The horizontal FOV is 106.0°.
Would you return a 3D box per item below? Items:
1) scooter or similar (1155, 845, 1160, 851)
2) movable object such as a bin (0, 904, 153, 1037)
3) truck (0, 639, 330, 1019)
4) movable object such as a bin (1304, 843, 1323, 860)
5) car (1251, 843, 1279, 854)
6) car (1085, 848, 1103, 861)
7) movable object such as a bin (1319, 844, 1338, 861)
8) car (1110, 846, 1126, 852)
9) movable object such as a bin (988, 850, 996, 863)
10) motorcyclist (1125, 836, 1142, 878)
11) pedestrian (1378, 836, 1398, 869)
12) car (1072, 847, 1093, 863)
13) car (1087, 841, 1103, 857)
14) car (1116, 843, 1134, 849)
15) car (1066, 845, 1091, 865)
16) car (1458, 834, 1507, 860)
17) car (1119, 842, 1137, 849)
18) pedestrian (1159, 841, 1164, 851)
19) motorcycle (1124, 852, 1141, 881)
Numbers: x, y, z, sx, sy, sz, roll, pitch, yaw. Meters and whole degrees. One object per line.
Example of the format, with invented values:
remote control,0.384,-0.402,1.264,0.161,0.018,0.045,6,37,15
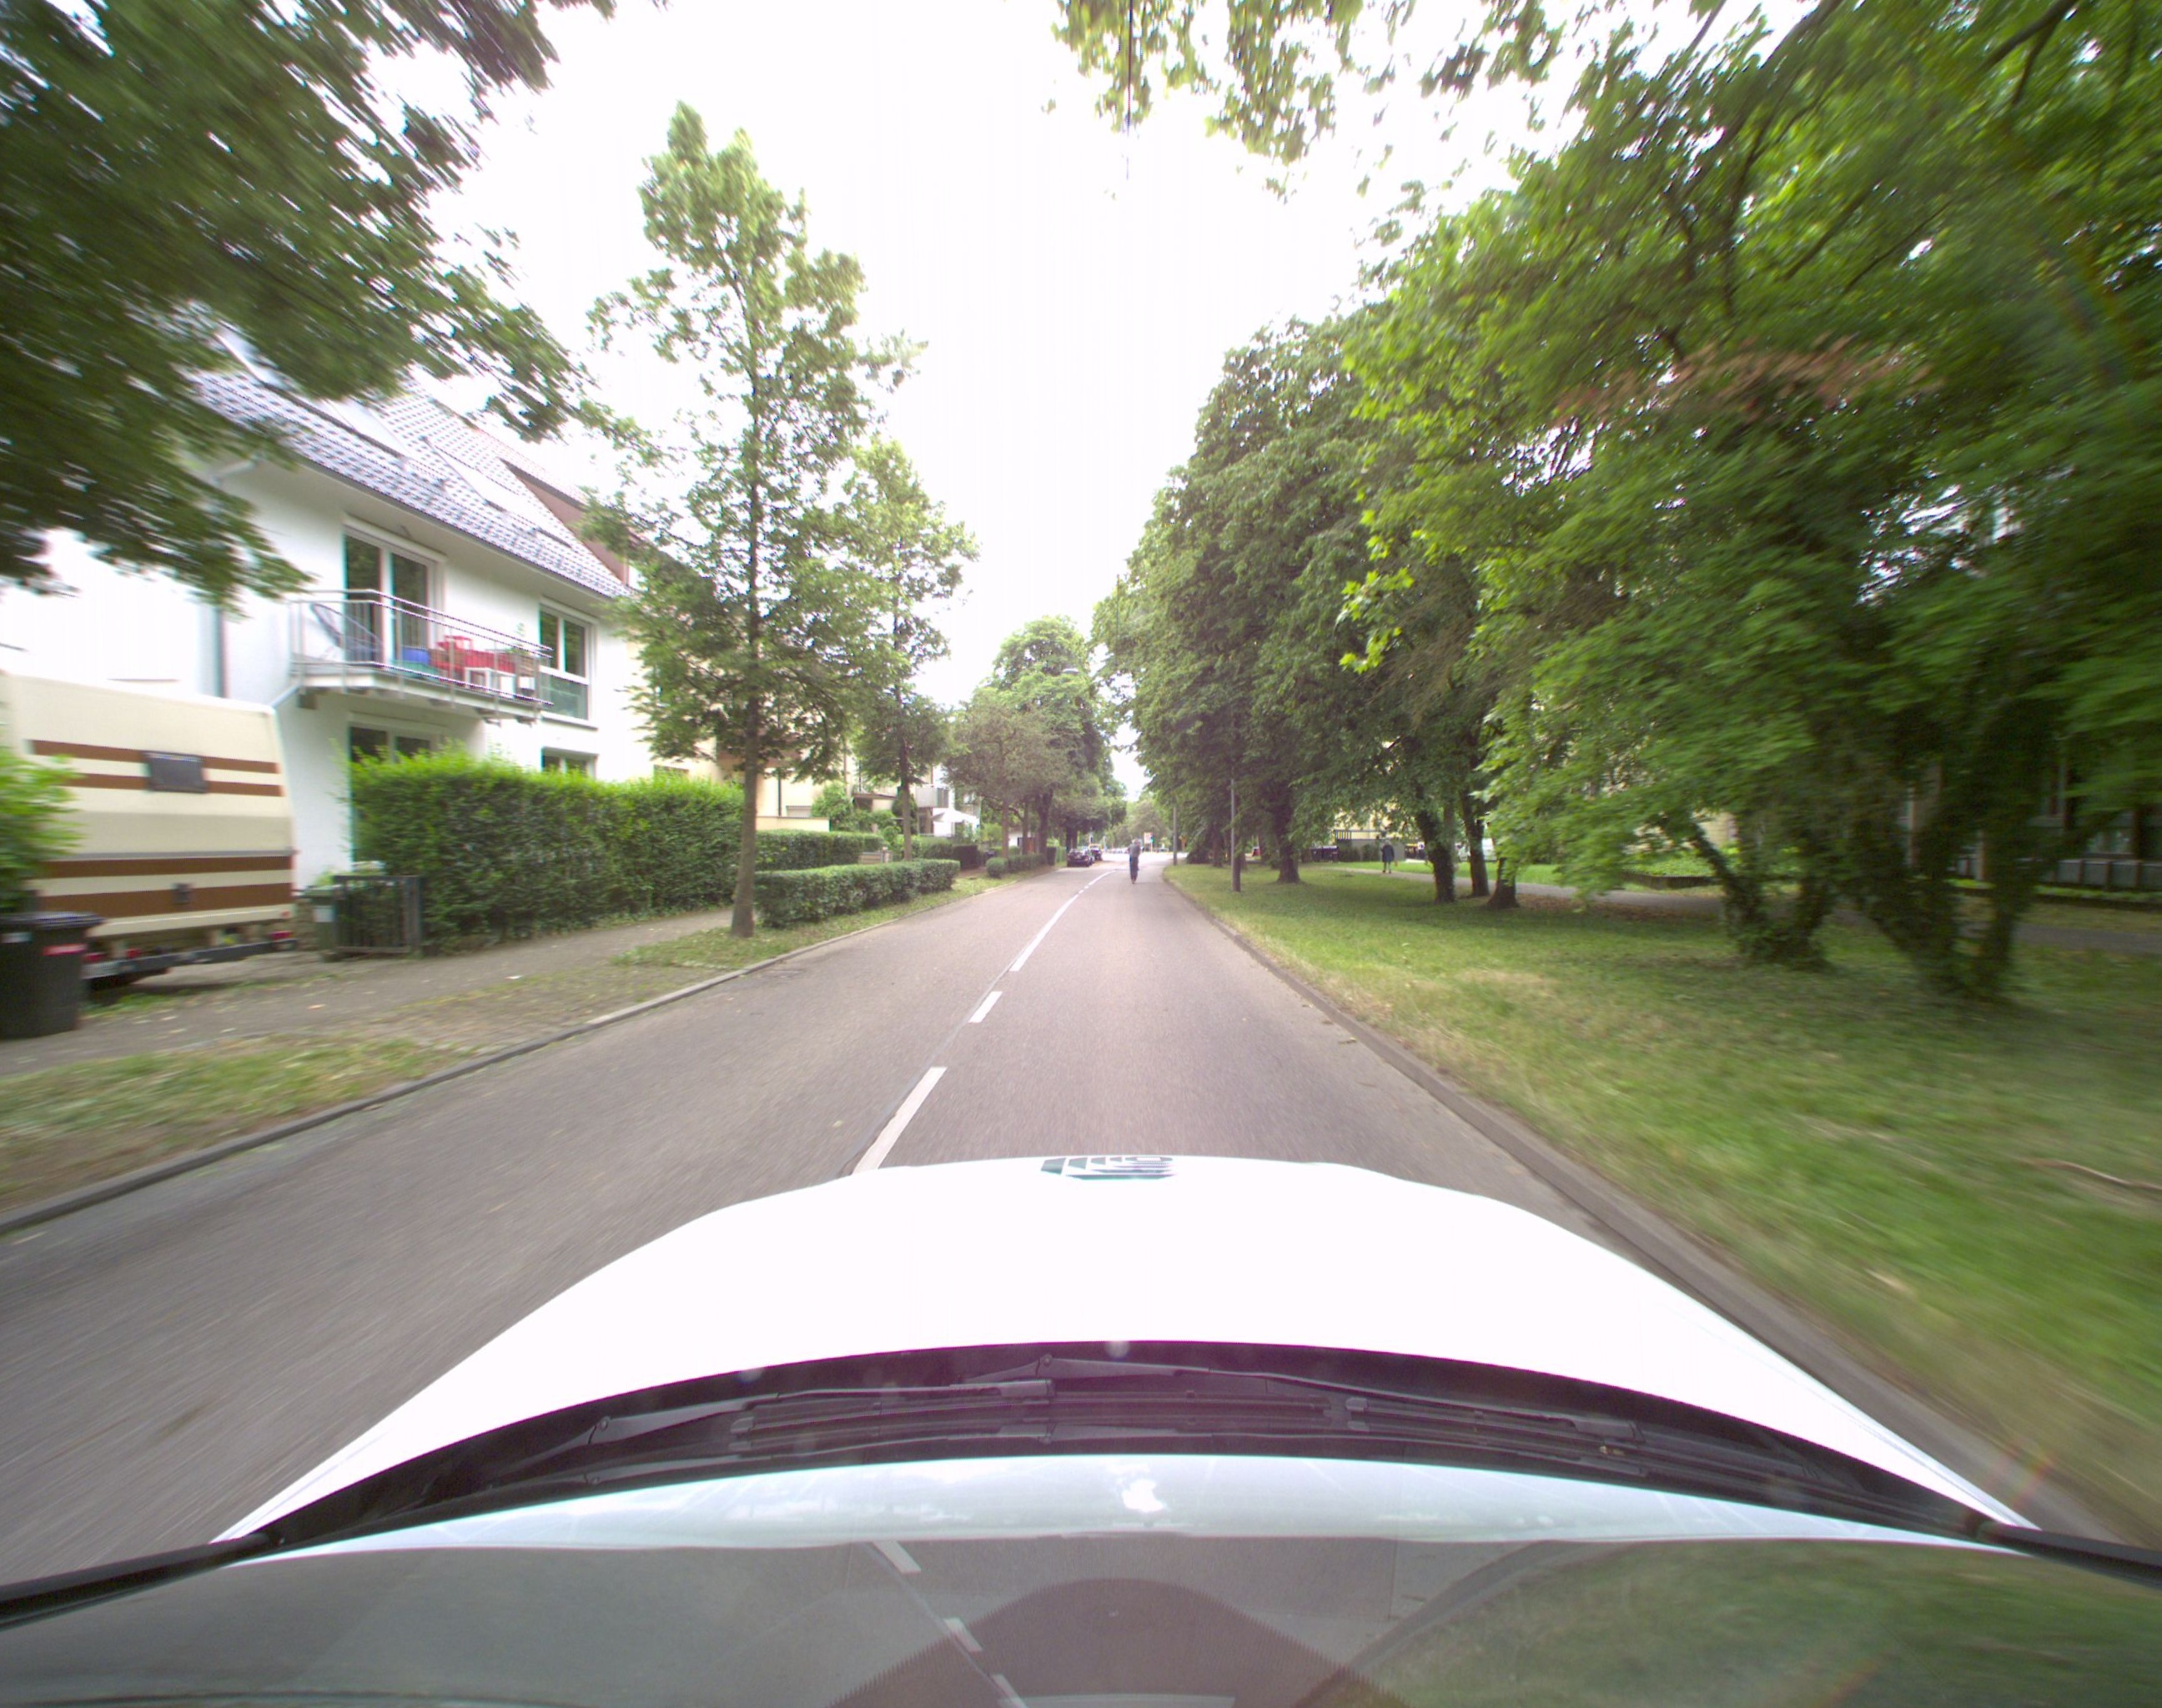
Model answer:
scooter or similar,13.535,-1.099,143.923,0.704,1.049,0.791,0,0,23
movable object such as a bin,-7.971,0.887,6.379,0.577,0.926,0.694,-1,0,4
truck,-11.430,-0.236,7.976,5.776,3.130,2.518,0,0,0
movable object such as a bin,20.701,-0.227,72.656,1.322,1.501,1.315,-1,0,1
car,28.096,-0.887,124.418,3.957,1.556,1.808,1,4,16
car,1.583,0.042,96.363,1.883,1.410,4.559,-1,0,4
movable object such as a bin,22.119,-0.147,72.723,1.322,1.501,1.315,-1,0,1
car,9.368,-1.327,204.611,3.973,1.510,1.800,-1,0,1
movable object such as a bin,-6.202,0.190,56.795,0.455,0.915,0.508,-1,0,-3
motorcyclist,2.249,0.125,35.143,0.669,1.761,0.640,1,0,5
pedestrian,16.081,-0.078,42.659,0.765,1.686,0.815,-1,0,3
car,0.172,0.064,70.334,1.658,1.391,3.708,-1,0,2
car,1.844,-0.655,107.148,1.852,1.964,4.501,-1,0,-1
car,10.256,-1.876,189.750,3.973,1.510,1.800,-1,0,1
car,-0.161,0.049,65.211,1.787,1.472,4.420,-1,0,2
car,29.876,-0.549,60.765,2.072,1.842,4.985,-1,1,12
car,10.859,-1.880,187.814,3.973,1.510,1.800,-1,0,1
pedestrian,14.230,-1.458,143.651,0.726,1.761,0.665,0,0,23
motorcycle,2.219,0.528,34.888,0.669,1.217,1.275,1,0,5
